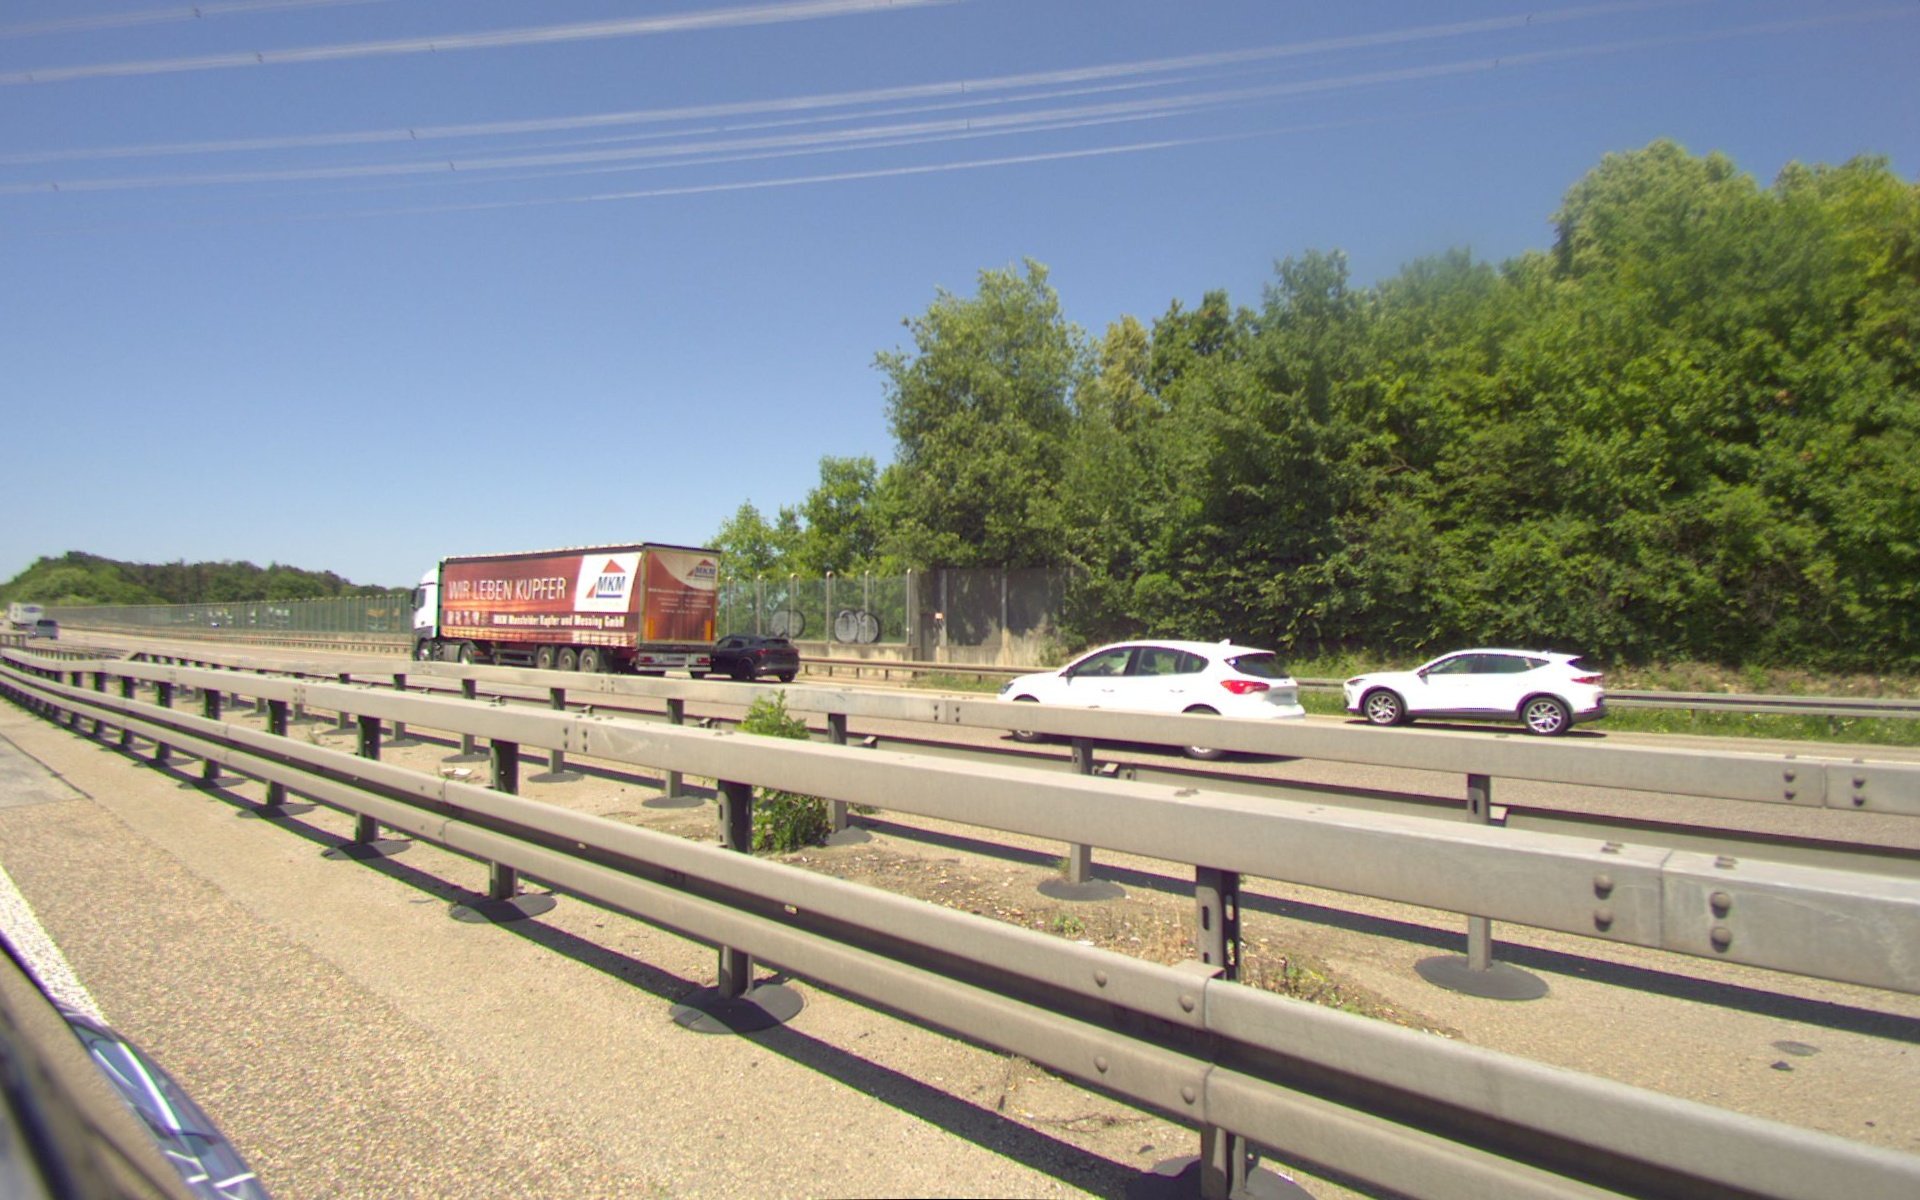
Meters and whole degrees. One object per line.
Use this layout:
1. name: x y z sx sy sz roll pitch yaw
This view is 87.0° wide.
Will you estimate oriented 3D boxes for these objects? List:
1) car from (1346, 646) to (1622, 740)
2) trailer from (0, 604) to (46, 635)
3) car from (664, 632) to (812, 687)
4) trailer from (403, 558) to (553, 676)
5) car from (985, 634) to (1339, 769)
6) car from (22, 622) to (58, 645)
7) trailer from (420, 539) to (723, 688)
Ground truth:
1. car: 9.606 1.629 18.710 4.337 1.467 1.670 -1 -3 37
2. trailer: -136.355 2.887 146.984 14.037 4.268 3.946 -1 -3 42
3. car: -7.291 1.887 32.906 5.274 1.588 1.972 -1 -4 43
4. trailer: -17.826 0.715 37.285 6.129 4.007 2.728 -2 -4 41
5. car: 2.584 1.215 13.534 4.301 1.478 1.832 -1 -2 40
6. car: -85.526 3.101 94.056 4.896 1.955 1.972 -1 0 42
7. trailer: -13.264 0.619 33.105 14.674 4.007 2.734 -2 -4 42
